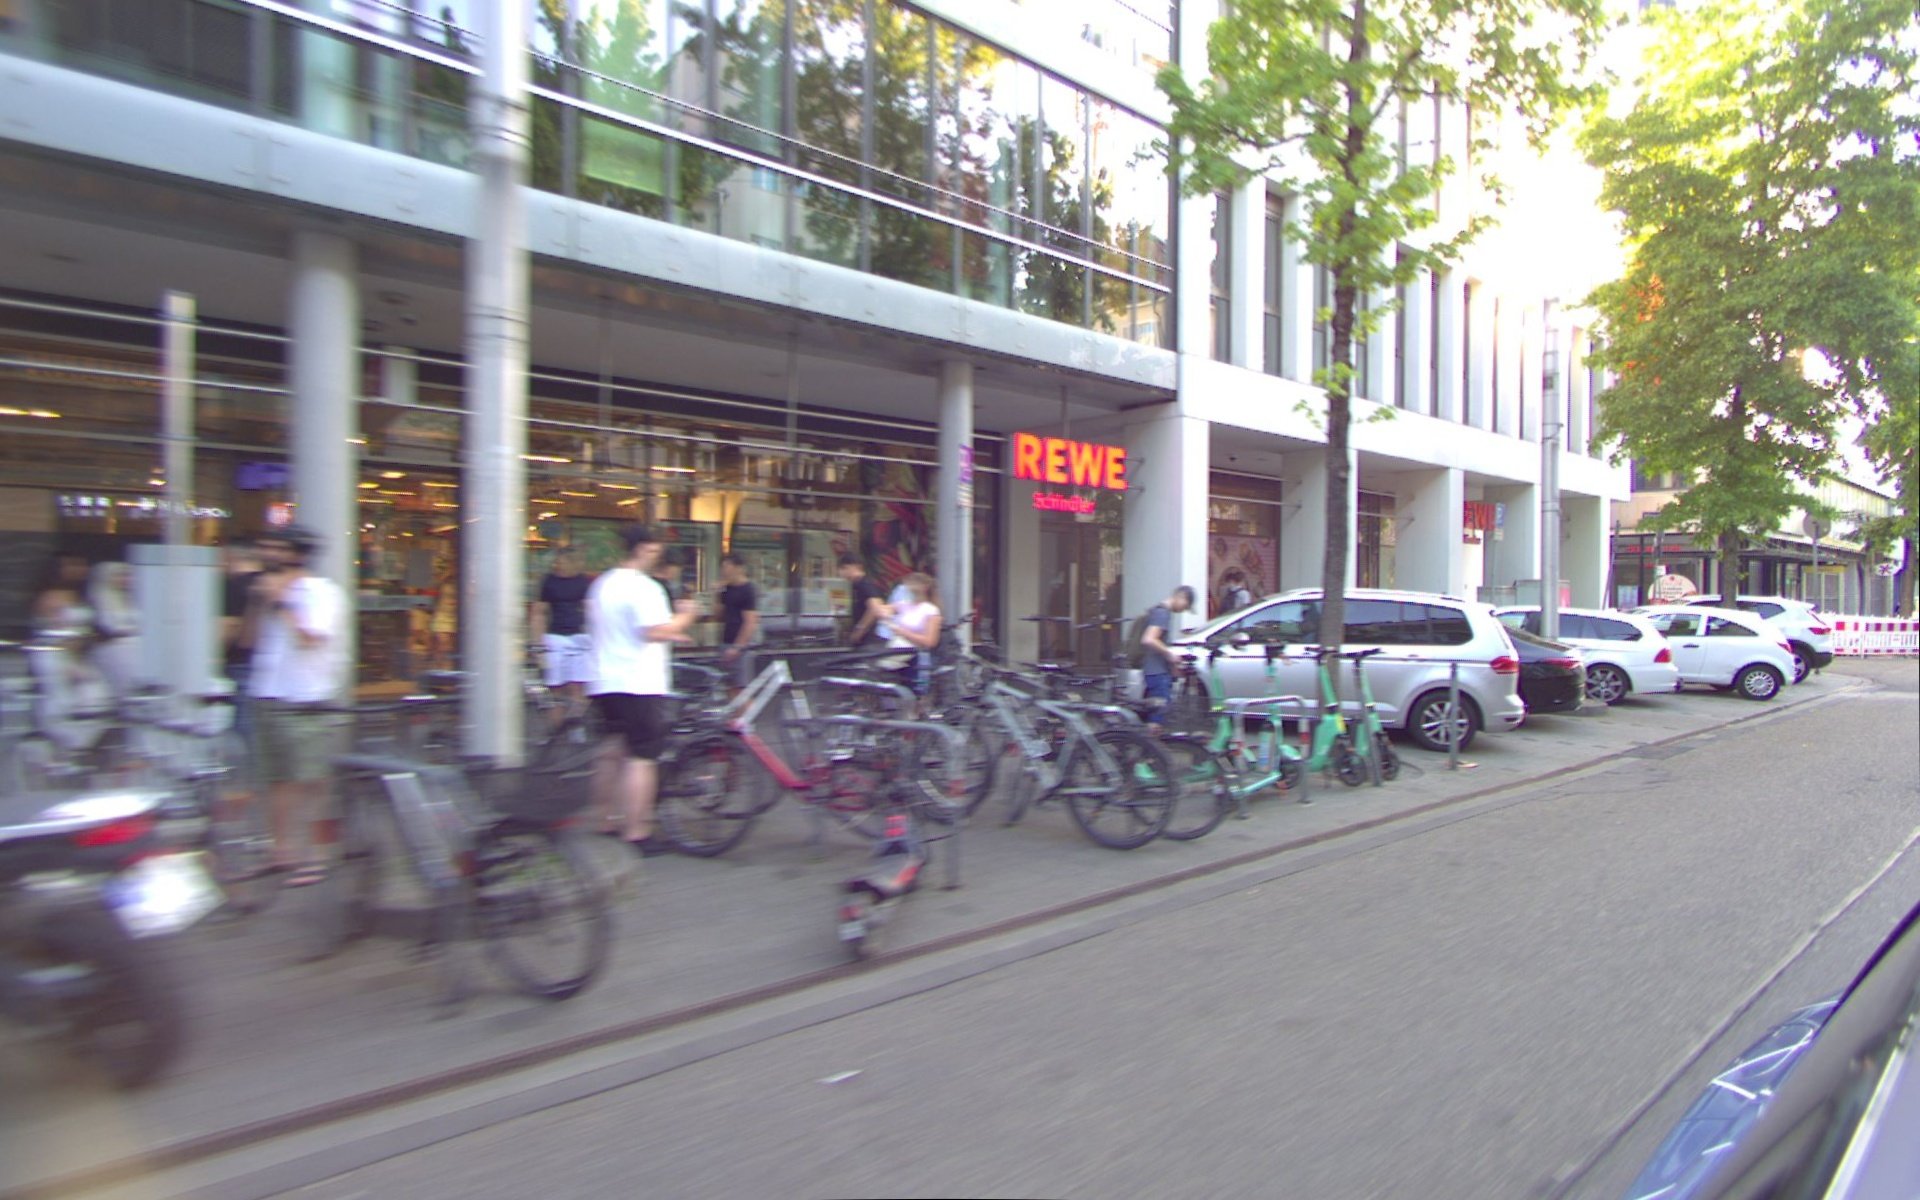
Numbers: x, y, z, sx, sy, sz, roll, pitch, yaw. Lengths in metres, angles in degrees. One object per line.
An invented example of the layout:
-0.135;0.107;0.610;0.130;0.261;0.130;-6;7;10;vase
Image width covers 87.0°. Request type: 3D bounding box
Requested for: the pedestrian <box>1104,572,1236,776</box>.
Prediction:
1.789;0.598;8.697;0.753;1.646;0.794;1;1;-21;pedestrian

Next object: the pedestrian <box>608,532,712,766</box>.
-2.452;0.384;8.331;0.702;1.835;0.661;1;1;-9;pedestrian

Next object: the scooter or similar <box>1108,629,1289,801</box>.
1.864;0.854;7.909;1.255;1.220;0.571;1;1;-25;scooter or similar

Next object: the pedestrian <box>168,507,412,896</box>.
-3.435;0.476;5.226;0.806;1.835;0.598;3;1;12;pedestrian

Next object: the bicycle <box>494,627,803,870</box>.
-1.969;0.821;6.273;1.986;1.162;0.690;3;1;33;bicycle

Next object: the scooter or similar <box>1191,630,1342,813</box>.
2.360;0.880;7.743;1.192;1.237;0.483;0;3;-39;scooter or similar

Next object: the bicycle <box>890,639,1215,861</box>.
0.594;0.903;6.580;1.969;1.144;0.676;3;1;21;bicycle

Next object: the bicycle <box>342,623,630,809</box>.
-3.369;0.765;7.216;1.810;1.108;0.819;2;1;20;bicycle

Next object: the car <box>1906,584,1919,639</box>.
33.607;0.437;33.918;4.584;1.793;2.000;0;3;-38;car

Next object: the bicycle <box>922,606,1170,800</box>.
0.657;0.742;8.031;1.820;1.289;0.673;3;1;33;bicycle

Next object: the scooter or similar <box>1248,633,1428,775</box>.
3.367;0.913;9.100;1.376;1.164;0.579;1;0;5;scooter or similar

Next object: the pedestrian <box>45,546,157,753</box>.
-6.891;0.371;8.135;0.653;1.567;0.681;-1;0;-40;pedestrian

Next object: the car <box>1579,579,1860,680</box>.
15.388;0.514;20.841;4.231;1.692;1.935;3;3;27;car

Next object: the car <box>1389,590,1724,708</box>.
9.277;0.670;16.134;4.311;1.440;1.811;3;2;29;car

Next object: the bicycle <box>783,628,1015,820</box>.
-0.470;0.835;7.323;1.674;1.153;0.473;3;1;31;bicycle

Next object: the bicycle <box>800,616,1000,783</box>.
-0.528;0.768;8.365;1.685;1.164;0.495;3;1;36;bicycle

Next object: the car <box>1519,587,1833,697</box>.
12.144;0.649;17.512;4.020;1.519;1.784;3;3;22;car

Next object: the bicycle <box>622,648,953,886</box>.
-1.017;0.913;5.945;1.810;1.089;0.620;3;1;19;bicycle

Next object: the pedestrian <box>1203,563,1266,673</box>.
4.581;0.298;16.889;0.791;1.794;0.681;2;-2;-40;pedestrian

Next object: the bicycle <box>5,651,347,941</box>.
-3.778;0.865;4.865;1.578;1.046;0.550;5;3;21;bicycle

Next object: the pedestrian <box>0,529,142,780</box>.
-6.544;0.378;7.423;0.791;1.721;0.681;2;-2;-40;pedestrian

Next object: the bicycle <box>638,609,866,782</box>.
-1.651;0.719;8.056;1.670;1.204;0.553;3;1;13;bicycle

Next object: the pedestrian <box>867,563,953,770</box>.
-0.431;0.526;8.472;0.647;1.644;0.707;2;1;-4;pedestrian

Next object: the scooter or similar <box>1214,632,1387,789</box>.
2.819;0.895;8.482;1.312;1.196;0.497;1;0;14;scooter or similar

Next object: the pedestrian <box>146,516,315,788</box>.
-5.197;0.345;7.251;0.647;1.835;0.793;2;1;-4;pedestrian

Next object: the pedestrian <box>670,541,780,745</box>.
-2.146;0.364;9.305;0.706;1.775;0.729;2;1;13;pedestrian

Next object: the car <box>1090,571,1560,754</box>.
3.938;0.573;11.600;4.609;1.660;1.946;2;2;16;car

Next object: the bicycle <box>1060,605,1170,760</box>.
1.418;0.717;9.551;0.628;1.265;1.664;2;1;-4;bicycle

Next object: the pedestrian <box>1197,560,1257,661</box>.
4.723;0.188;17.878;0.791;1.721;0.681;2;-2;-40;pedestrian

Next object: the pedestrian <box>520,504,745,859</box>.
-1.988;0.424;6.149;0.948;1.937;0.850;4;2;39;pedestrian

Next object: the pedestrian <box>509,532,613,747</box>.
-3.593;0.326;9.103;0.703;1.835;0.660;1;1;-35;pedestrian

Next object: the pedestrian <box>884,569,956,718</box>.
-0.453;0.453;11.231;0.618;1.591;0.765;0;1;-17;pedestrian

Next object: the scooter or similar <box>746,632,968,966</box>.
-0.444;0.860;5.010;0.686;1.320;1.388;2;1;12;scooter or similar

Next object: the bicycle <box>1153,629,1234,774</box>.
2.182;0.866;9.376;0.622;1.089;1.871;3;1;15;bicycle

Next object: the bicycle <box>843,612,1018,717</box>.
-0.329;0.700;11.268;1.843;1.096;0.575;1;1;-17;bicycle

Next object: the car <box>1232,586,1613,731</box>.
6.065;0.653;13.566;4.313;1.440;1.936;3;3;29;car

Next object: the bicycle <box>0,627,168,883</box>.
-5.349;0.769;5.532;1.770;1.131;0.838;2;2;22;bicycle

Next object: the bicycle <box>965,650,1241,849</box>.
0.943;0.945;6.758;1.728;1.089;0.490;3;1;21;bicycle

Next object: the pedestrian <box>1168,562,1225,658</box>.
4.355;0.184;18.634;0.791;1.721;0.681;2;-2;-40;pedestrian

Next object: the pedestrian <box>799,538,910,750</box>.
-0.952;0.376;9.285;0.919;1.835;0.888;2;1;-4;pedestrian

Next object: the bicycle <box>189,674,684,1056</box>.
-2.088;0.942;4.080;1.727;1.131;0.802;2;1;19;bicycle

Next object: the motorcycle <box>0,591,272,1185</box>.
-3.449;0.717;3.135;2.167;1.490;0.794;2;0;7;motorcycle

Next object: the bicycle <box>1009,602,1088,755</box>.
0.836;0.710;9.920;0.569;1.304;1.595;2;1;0;bicycle
